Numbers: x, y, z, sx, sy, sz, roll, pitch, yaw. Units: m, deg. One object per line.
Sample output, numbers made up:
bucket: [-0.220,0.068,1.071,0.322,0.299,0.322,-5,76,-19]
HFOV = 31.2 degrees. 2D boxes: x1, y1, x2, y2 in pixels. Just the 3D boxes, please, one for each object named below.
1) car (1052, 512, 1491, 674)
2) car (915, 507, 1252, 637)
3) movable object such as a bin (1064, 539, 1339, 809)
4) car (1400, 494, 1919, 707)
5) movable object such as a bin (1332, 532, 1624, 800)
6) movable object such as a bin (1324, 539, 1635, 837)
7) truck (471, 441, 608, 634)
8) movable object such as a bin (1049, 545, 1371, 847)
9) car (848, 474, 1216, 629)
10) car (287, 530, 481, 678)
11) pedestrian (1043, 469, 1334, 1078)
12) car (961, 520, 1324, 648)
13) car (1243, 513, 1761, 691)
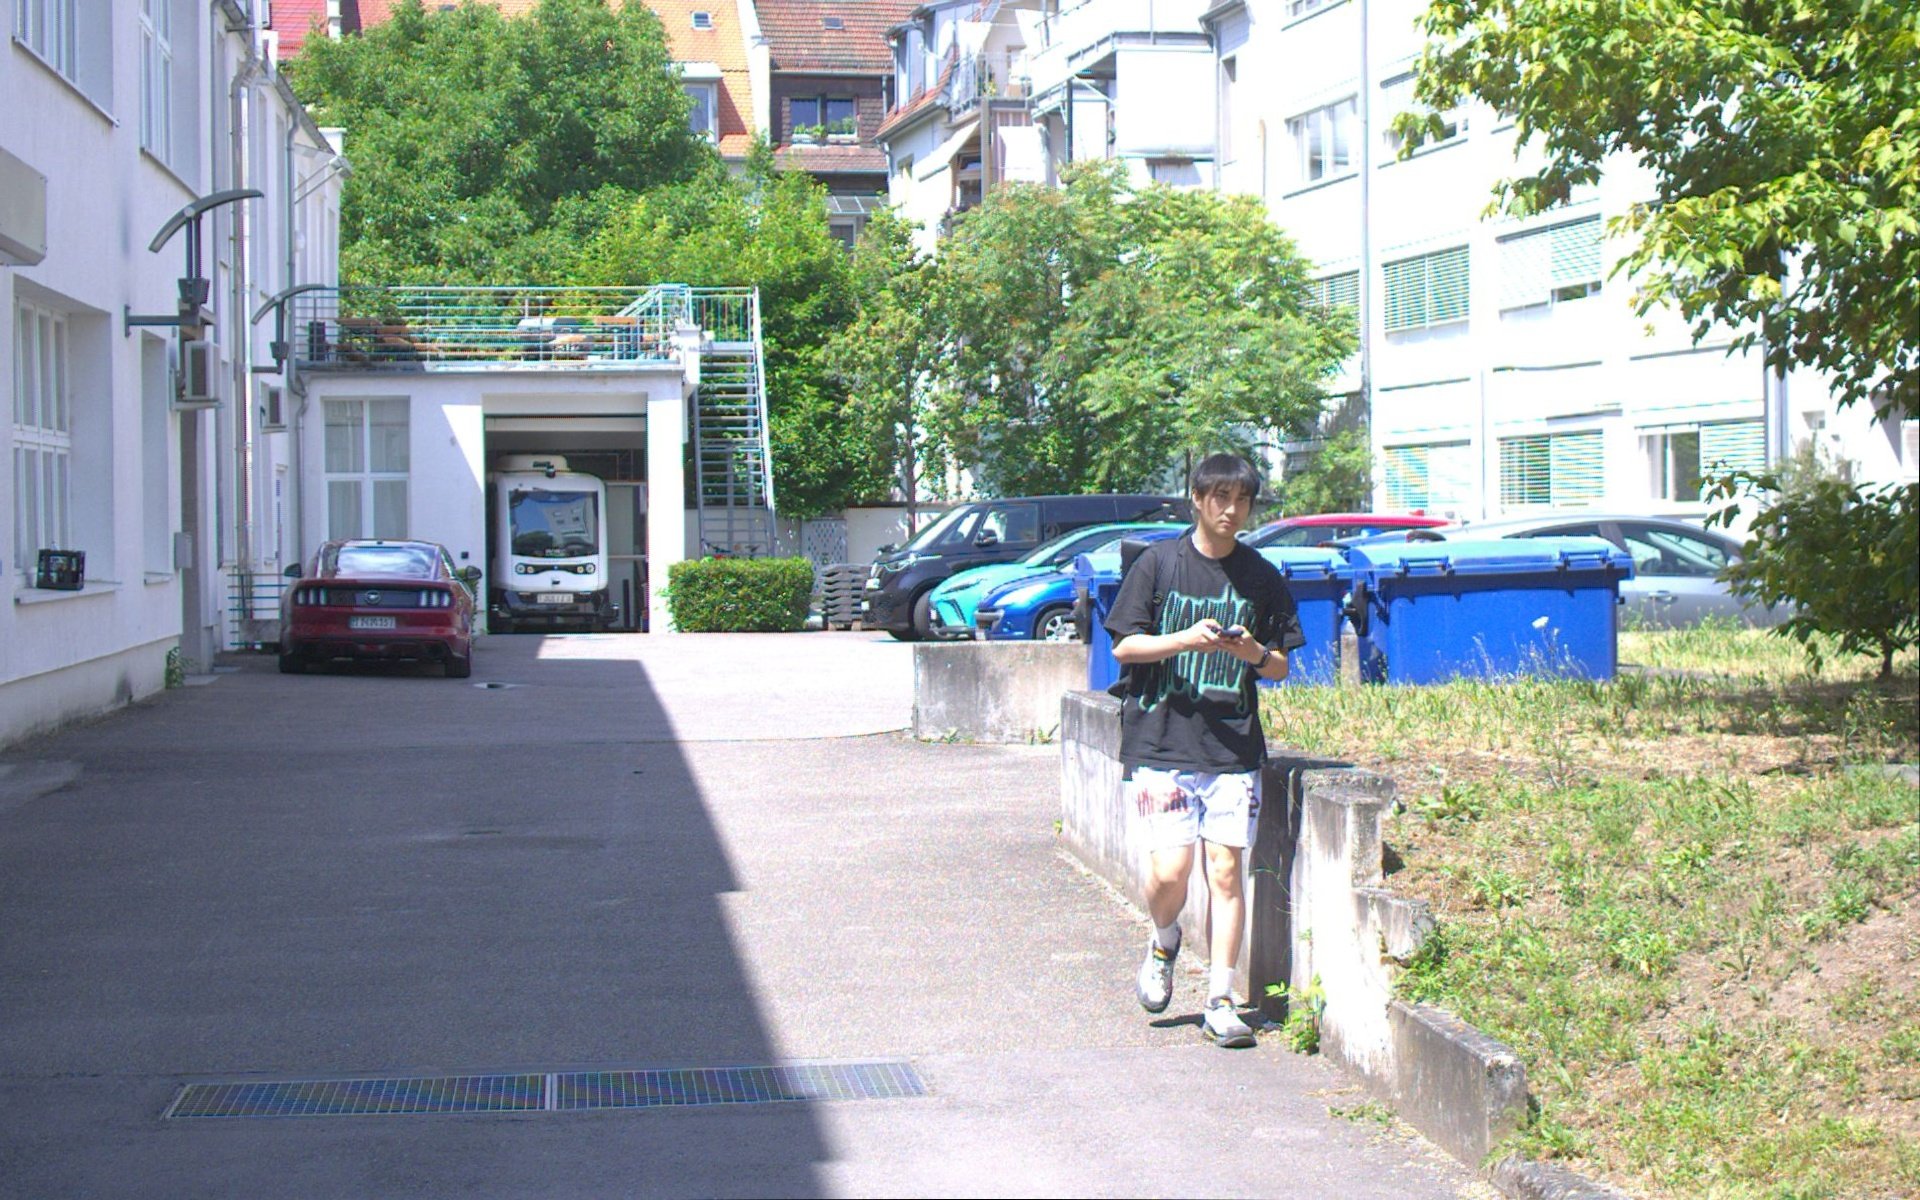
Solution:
car: [3.037,-0.098,33.951,3.986,1.473,1.805,-1,2,-8]
car: [1.531,-0.375,43.465,3.986,1.529,1.805,-1,2,-8]
movable object such as a bin: [1.236,0.358,17.867,1.192,1.322,1.161,-1,2,-8]
car: [5.498,-0.029,25.857,3.986,1.473,1.805,-1,2,-8]
movable object such as a bin: [2.691,0.321,17.998,1.216,1.322,1.161,-1,2,-8]
movable object such as a bin: [2.432,0.388,16.252,1.216,1.322,1.161,-1,2,-4]
truck: [-6.735,-1.014,54.711,1.787,2.927,4.655,-1,1,-11]
movable object such as a bin: [1.146,0.423,16.095,1.338,1.322,1.161,-1,2,-4]
car: [0.937,-0.675,46.455,4.676,1.951,2.077,-1,2,-8]
car: [-5.920,-0.002,35.701,1.798,1.385,4.001,-1,2,-7]
pedestrian: [0.669,0.488,10.271,0.757,1.749,0.752,0,1,-5]
car: [2.123,-0.211,40.533,3.986,1.385,1.805,-1,2,-8]
car: [4.572,-0.013,29.296,3.986,1.385,1.805,-1,2,-8]
